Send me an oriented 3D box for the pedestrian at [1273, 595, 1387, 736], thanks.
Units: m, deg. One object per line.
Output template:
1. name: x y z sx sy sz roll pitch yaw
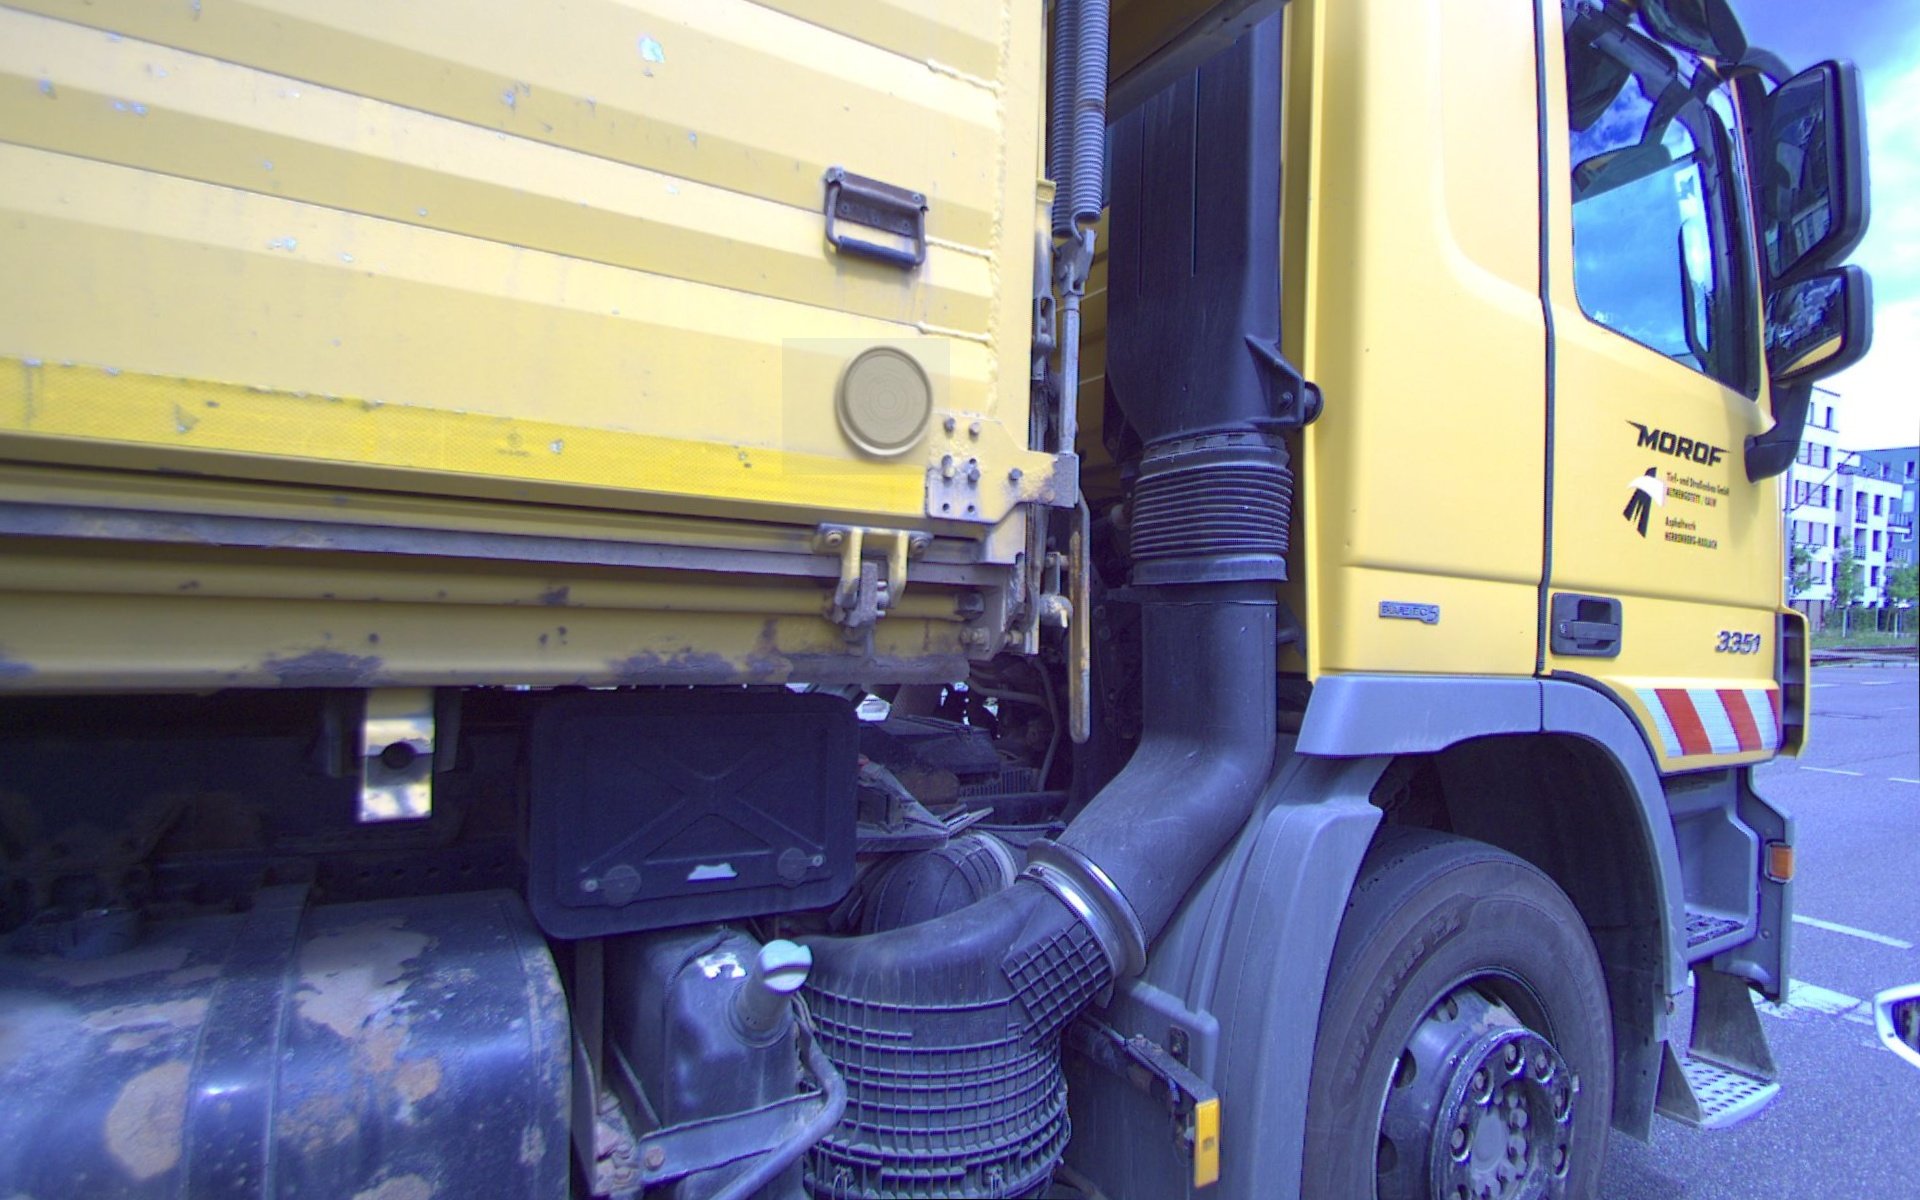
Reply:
1. pedestrian: 4.502 0.758 12.245 0.918 1.628 0.908 1 0 -30

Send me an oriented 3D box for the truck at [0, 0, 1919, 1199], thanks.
1. truck: -1.682 -0.232 1.577 7.916 3.439 3.033 1 0 -32

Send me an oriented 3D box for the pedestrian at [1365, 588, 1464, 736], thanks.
1. pedestrian: 5.644 0.740 12.488 0.818 1.766 0.778 1 0 -30

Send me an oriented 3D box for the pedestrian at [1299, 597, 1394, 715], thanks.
1. pedestrian: 5.536 0.771 14.414 0.897 1.618 0.888 1 0 -30

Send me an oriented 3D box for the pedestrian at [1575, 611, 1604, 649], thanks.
1. pedestrian: 26.118 1.244 41.692 0.628 1.536 0.827 1 0 -30
